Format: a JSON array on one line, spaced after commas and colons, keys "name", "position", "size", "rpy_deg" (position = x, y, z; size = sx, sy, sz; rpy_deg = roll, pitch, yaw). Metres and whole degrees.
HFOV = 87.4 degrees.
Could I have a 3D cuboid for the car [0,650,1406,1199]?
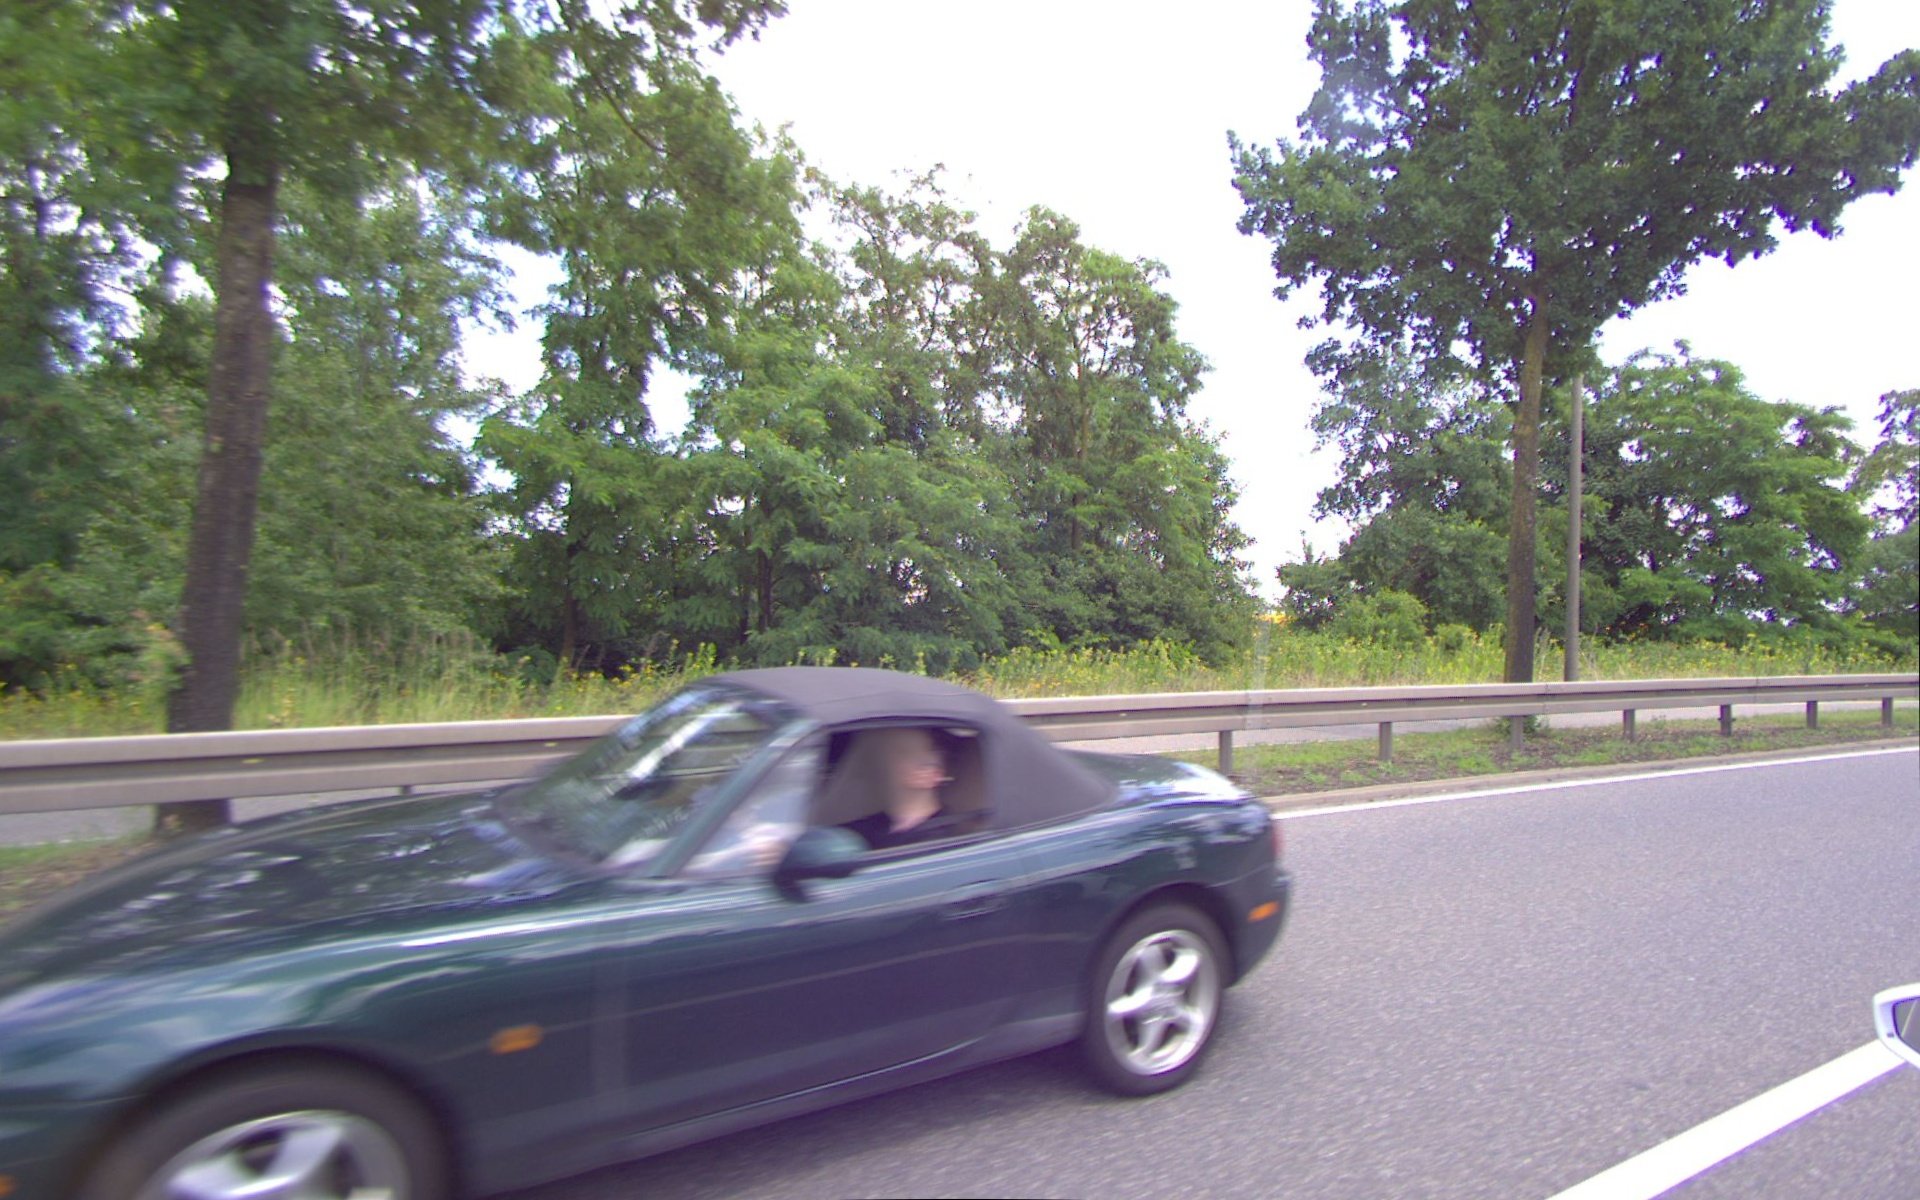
[{"name": "car", "position": [-0.459, 0.843, 3.185], "size": [3.748, 1.234, 1.584], "rpy_deg": [1, 1, -32]}]
